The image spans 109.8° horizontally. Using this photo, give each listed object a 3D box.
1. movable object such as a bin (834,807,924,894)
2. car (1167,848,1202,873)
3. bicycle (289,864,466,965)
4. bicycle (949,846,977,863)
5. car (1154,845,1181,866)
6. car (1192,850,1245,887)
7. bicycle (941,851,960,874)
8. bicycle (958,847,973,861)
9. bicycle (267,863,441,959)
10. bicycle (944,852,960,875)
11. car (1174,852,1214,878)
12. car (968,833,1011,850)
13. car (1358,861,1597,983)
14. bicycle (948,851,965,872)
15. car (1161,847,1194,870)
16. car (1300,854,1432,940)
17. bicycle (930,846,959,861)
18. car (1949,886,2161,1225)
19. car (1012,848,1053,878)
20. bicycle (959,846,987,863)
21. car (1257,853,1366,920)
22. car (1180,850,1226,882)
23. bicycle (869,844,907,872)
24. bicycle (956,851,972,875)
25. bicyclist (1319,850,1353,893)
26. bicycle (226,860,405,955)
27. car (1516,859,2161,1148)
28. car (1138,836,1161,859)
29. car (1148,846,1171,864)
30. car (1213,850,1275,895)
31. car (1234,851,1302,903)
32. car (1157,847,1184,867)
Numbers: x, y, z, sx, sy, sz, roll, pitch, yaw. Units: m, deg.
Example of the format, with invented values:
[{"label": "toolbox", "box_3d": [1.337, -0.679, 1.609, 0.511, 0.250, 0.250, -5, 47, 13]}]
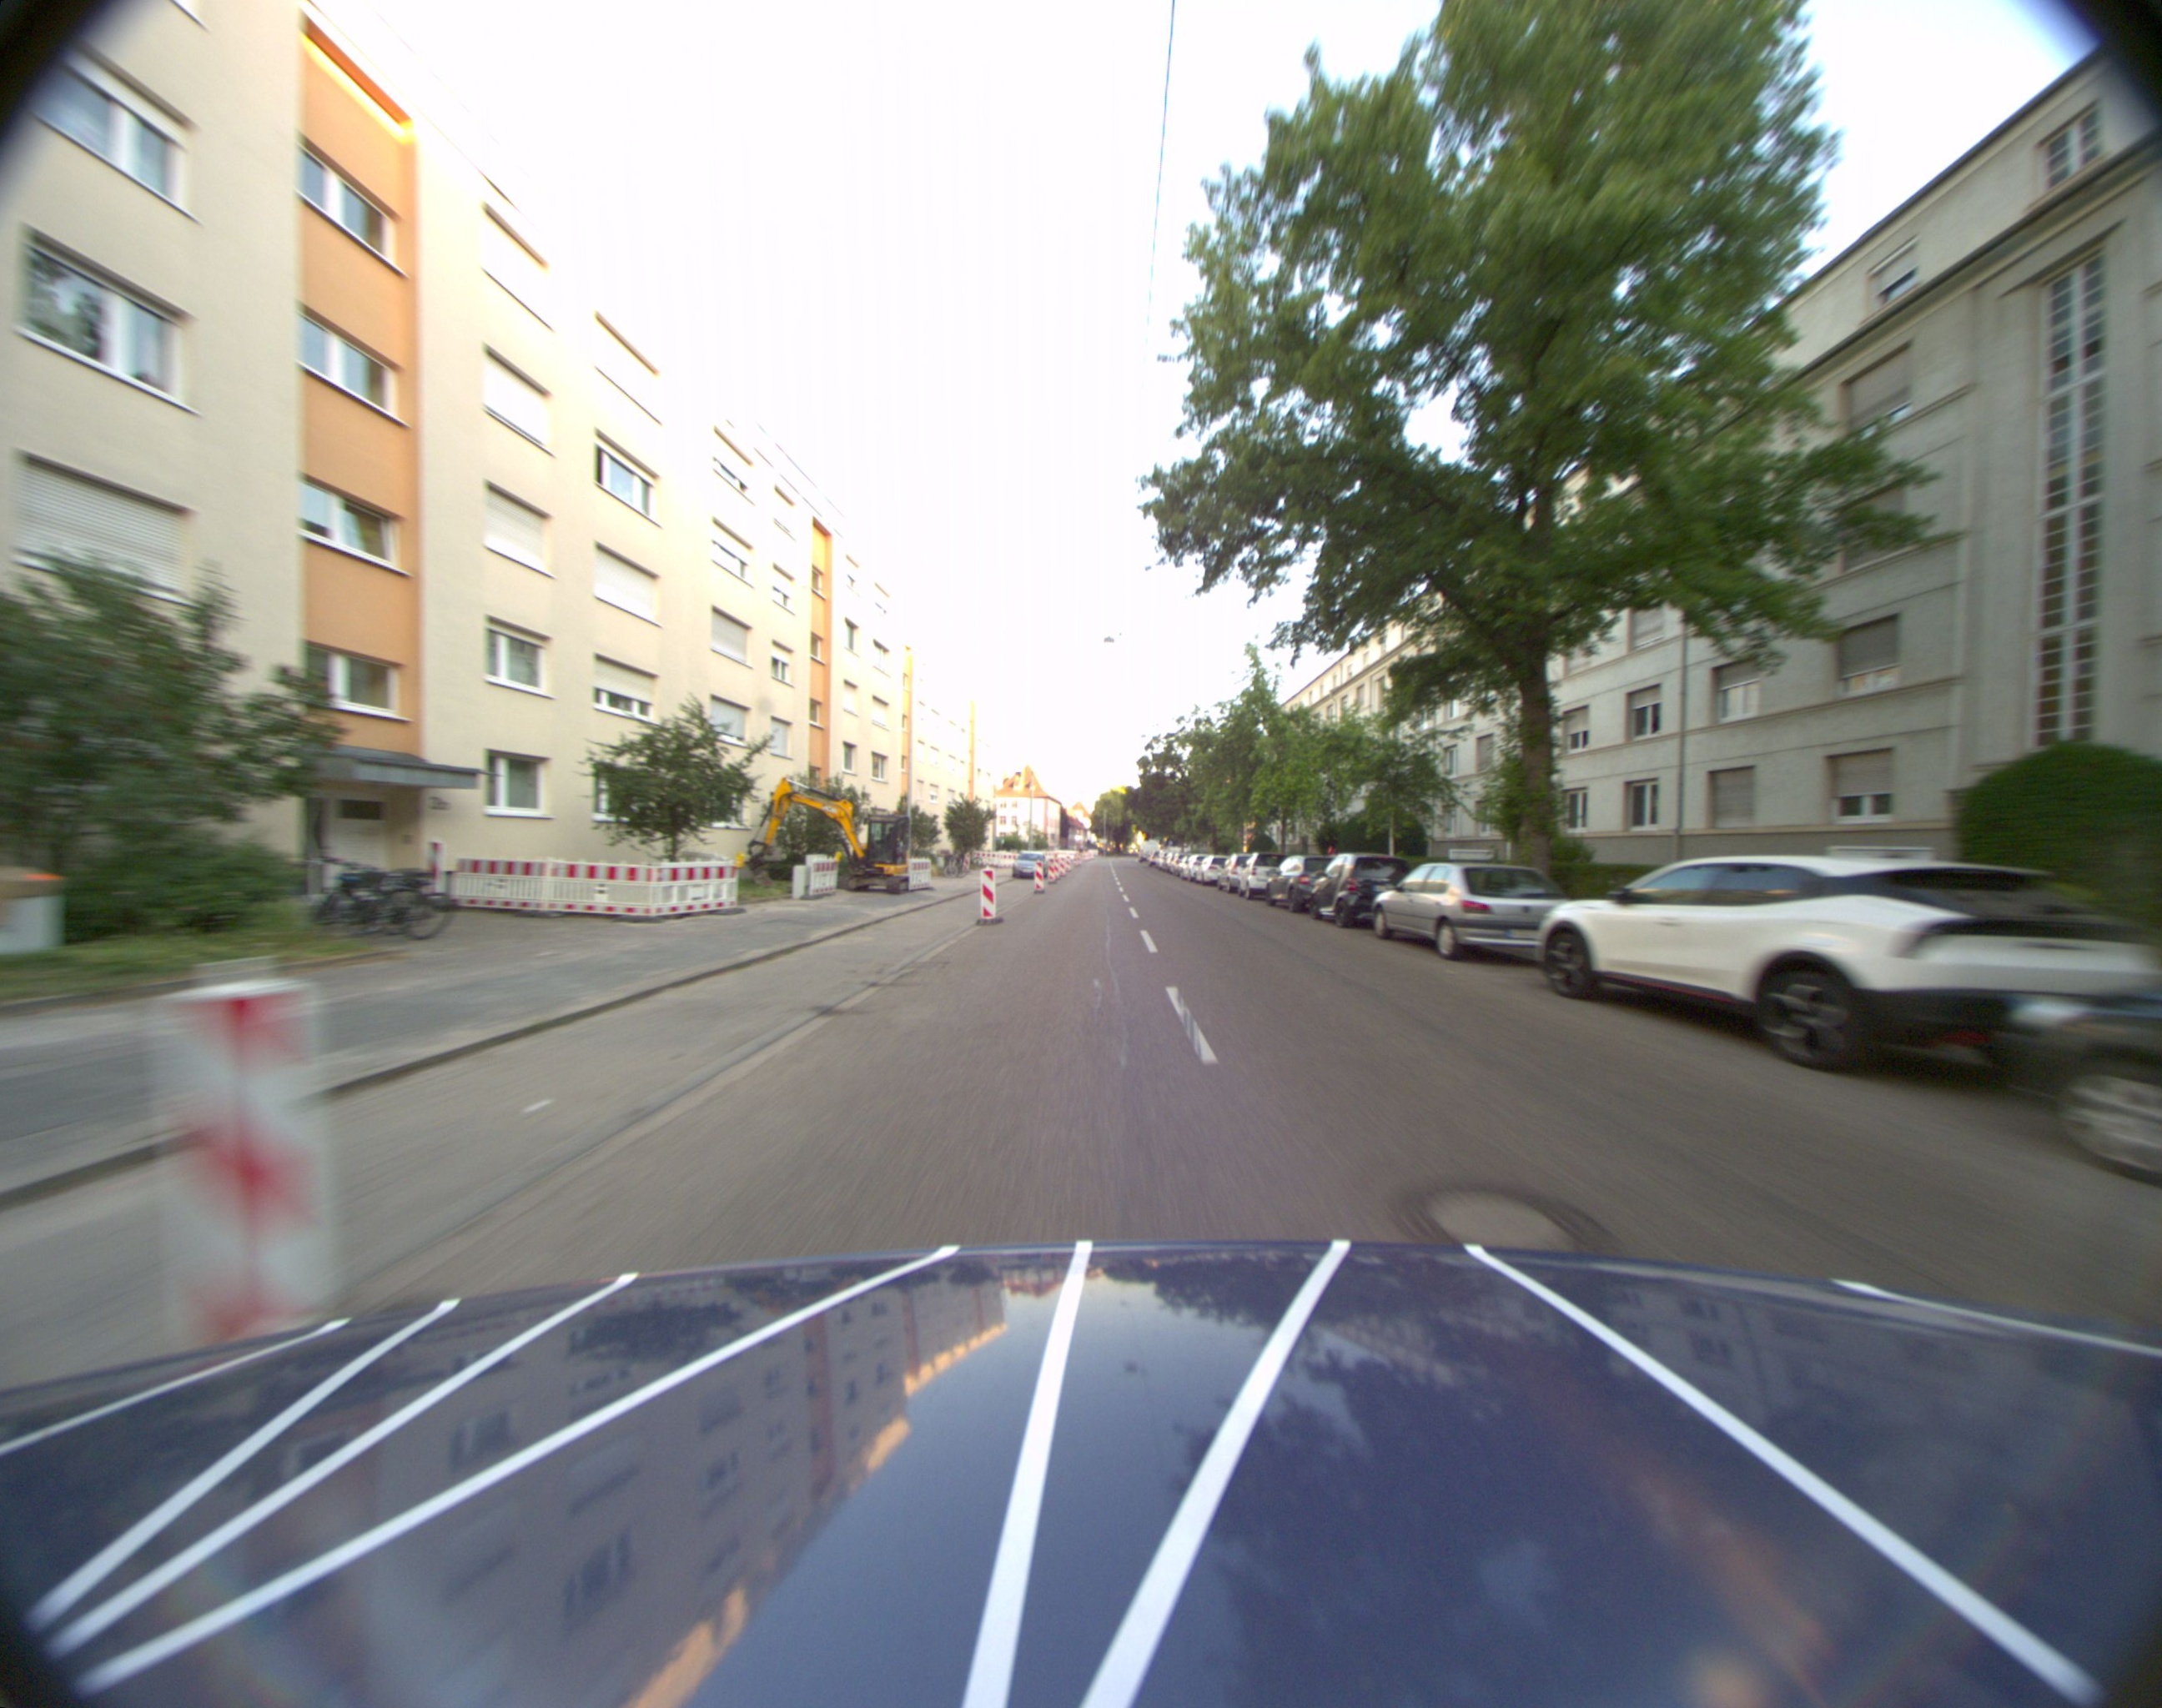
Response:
[{"label": "movable object such as a bin", "box_3d": [-6.570, -0.135, 25.055, 1.937, 2.677, 2.892, 1, 1, 6]}, {"label": "car", "box_3d": [6.811, 0.411, 50.247, 1.679, 1.451, 3.704, 4, 1, -1]}, {"label": "bicycle", "box_3d": [-9.241, 0.746, 10.095, 0.557, 1.165, 1.817, 0, 1, 4]}, {"label": "bicycle", "box_3d": [-8.084, 0.051, 52.183, 1.755, 0.981, 0.558, 6, 2, 11]}, {"label": "car", "box_3d": [7.427, 0.114, 65.257, 1.757, 1.622, 4.106, 4, 1, 0]}, {"label": "car", "box_3d": [6.391, 0.622, 35.771, 1.696, 1.451, 4.483, 4, 1, 1]}, {"label": "bicycle", "box_3d": [-7.009, 0.437, 40.796, 0.557, 1.165, 1.817, 0, 1, 4]}, {"label": "bicycle", "box_3d": [-8.395, 0.015, 55.215, 0.559, 0.860, 1.610, 4, 2, -26]}, {"label": "bicycle", "box_3d": [-9.957, 0.733, 10.514, 0.557, 1.165, 1.817, 0, 1, 4]}, {"label": "bicycle", "box_3d": [-6.597, 0.471, 38.755, 0.628, 1.165, 1.814, 0, 1, -15]}, {"label": "car", "box_3d": [6.711, 0.616, 45.523, 1.678, 1.324, 4.579, 4, 1, 1]}, {"label": "car", "box_3d": [-11.787, -1.599, 98.193, 5.029, 2.117, 2.291, 1, 1, 9]}, {"label": "car", "box_3d": [5.944, 0.908, 12.032, 1.594, 1.396, 4.181, 4, 1, 2]}, {"label": "bicycle", "box_3d": [-6.999, 0.397, 42.844, 0.557, 1.165, 1.817, 0, 1, 4]}, {"label": "car", "box_3d": [6.973, 0.319, 55.314, 1.757, 1.471, 4.677, 4, 1, 0]}, {"label": "car", "box_3d": [5.935, 0.825, 16.168, 1.527, 1.520, 3.164, 4, 1, 0]}, {"label": "bicycle", "box_3d": [-9.548, -0.049, 53.173, 1.821, 0.916, 0.556, 4, 3, -39]}, {"label": "car", "box_3d": [5.602, 0.979, 2.210, 1.711, 1.444, 3.843, 4, 1, 2]}, {"label": "car", "box_3d": [-2.720, 0.469, 43.651, 1.780, 1.482, 4.573, 5, 1, 3]}, {"label": "bicycle", "box_3d": [-7.662, 0.052, 53.907, 1.815, 1.017, 0.558, 6, 2, 2]}, {"label": "car", "box_3d": [6.059, 0.788, 20.454, 1.594, 1.458, 4.101, 4, 1, 0]}, {"label": "car", "box_3d": [6.439, 0.606, 40.487, 1.696, 1.451, 4.144, 4, 1, 0]}, {"label": "bicycle", "box_3d": [-8.553, 0.175, 33.693, 1.597, 1.215, 0.485, 0, 1, -5]}, {"label": "bicycle", "box_3d": [-6.063, 0.456, 39.241, 0.558, 1.165, 1.813, 0, 1, -18]}, {"label": "bicyclist", "box_3d": [8.422, 0.567, 25.124, 0.810, 1.396, 0.973, 0, 1, 1]}, {"label": "bicycle", "box_3d": [-10.557, 0.686, 10.581, 0.557, 1.165, 1.817, 0, 1, 4]}, {"label": "car", "box_3d": [5.846, 0.912, 6.594, 1.594, 1.530, 4.205, 4, 1, -1]}, {"label": "car", "box_3d": [8.092, -0.767, 89.999, 2.184, 2.447, 6.102, 4, 1, 2]}, {"label": "car", "box_3d": [7.274, 0.079, 70.639, 1.756, 1.463, 4.224, 4, 1, 3]}, {"label": "car", "box_3d": [6.275, 0.660, 29.577, 1.594, 1.496, 3.799, 4, 1, 1]}, {"label": "car", "box_3d": [6.153, 0.707, 25.281, 1.593, 1.520, 2.921, 4, 1, 4]}, {"label": "car", "box_3d": [7.107, 0.220, 60.693, 1.756, 1.471, 3.944, 4, 1, 3]}]
